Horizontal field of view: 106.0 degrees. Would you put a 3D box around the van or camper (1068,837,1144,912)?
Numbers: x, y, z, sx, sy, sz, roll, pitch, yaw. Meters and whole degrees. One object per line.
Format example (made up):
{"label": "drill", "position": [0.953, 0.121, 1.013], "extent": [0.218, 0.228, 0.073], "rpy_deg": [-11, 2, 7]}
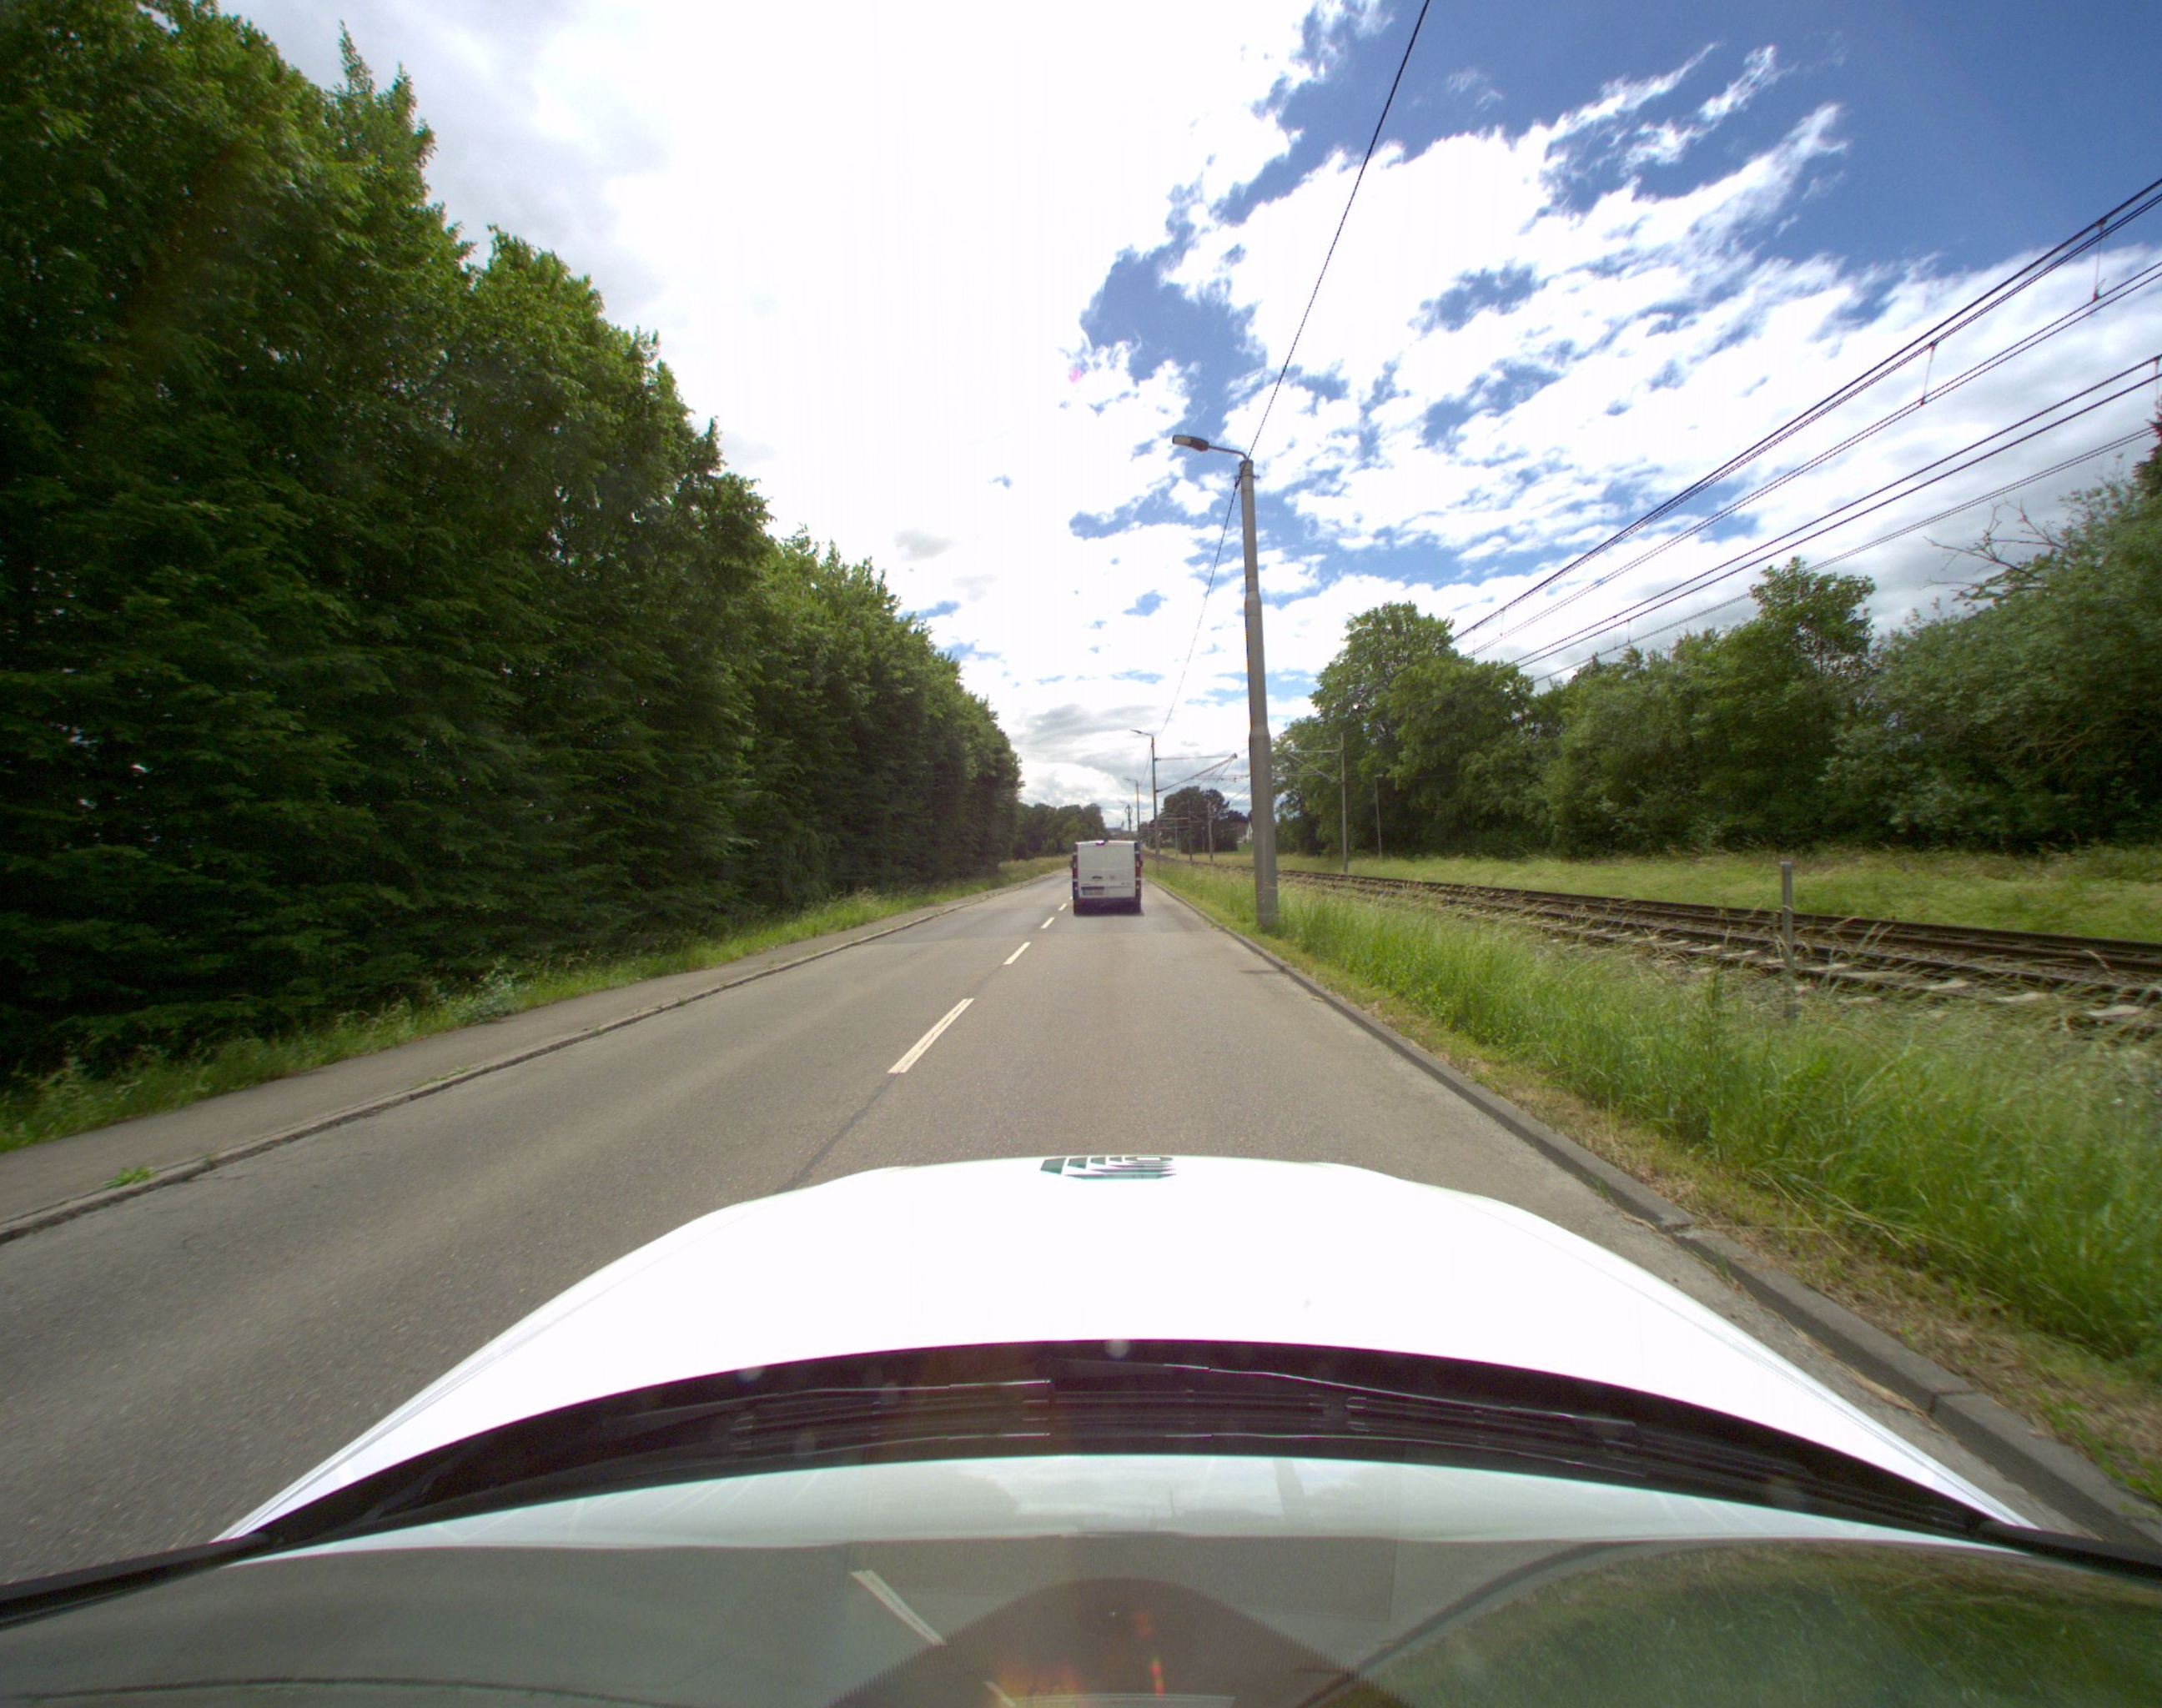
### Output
{"label": "van or camper", "position": [0.805, 0.546, 23.334], "extent": [1.933, 1.897, 4.289], "rpy_deg": [-2, 0, 4]}
